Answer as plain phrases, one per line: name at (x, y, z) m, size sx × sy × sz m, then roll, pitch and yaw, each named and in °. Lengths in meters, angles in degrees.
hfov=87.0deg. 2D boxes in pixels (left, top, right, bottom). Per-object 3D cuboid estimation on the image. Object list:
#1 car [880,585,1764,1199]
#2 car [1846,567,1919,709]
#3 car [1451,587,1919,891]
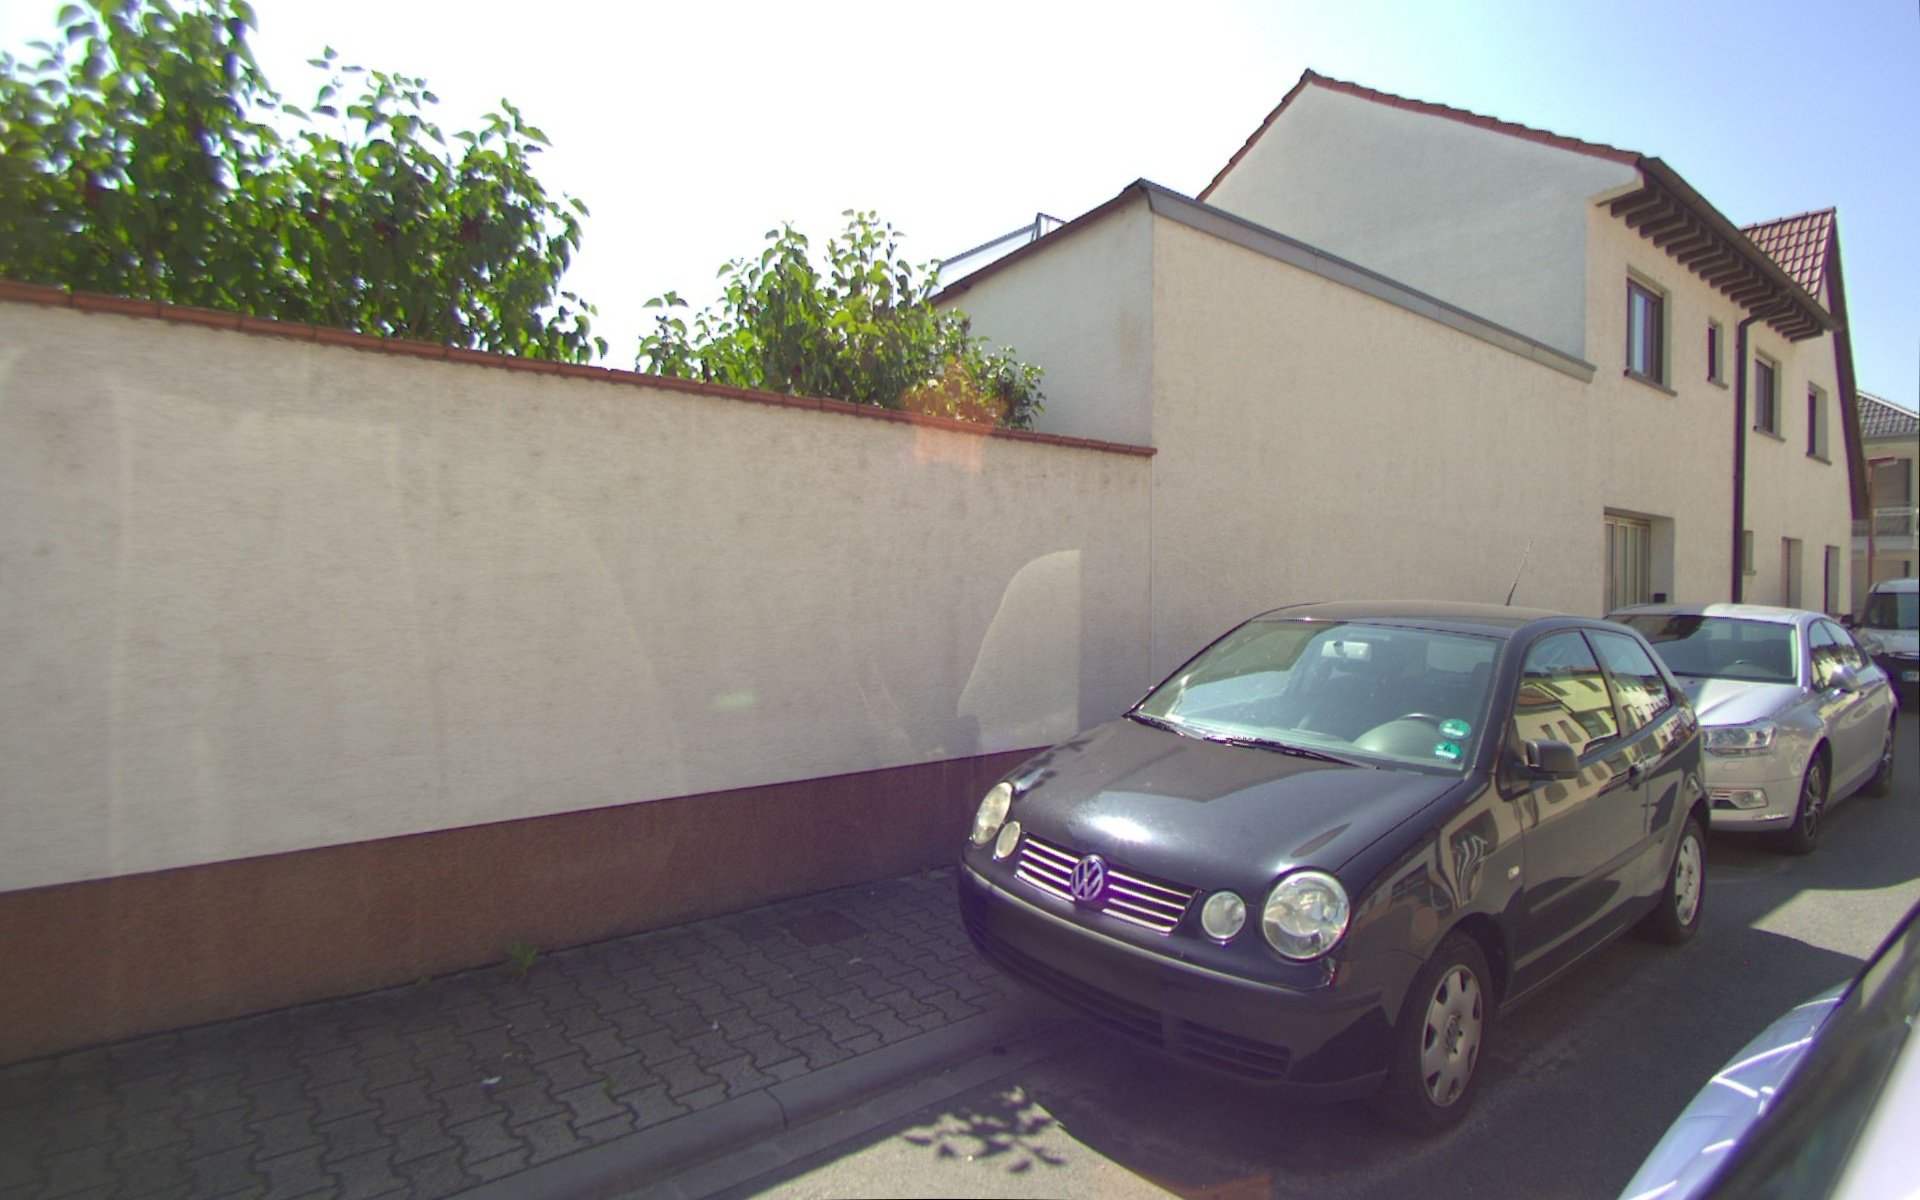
car at (1.796, 0.678, 4.175) m, size 4.062 × 1.454 × 1.652 m, roll -1°, pitch 2°, yaw -41°
car at (14.367, 0.462, 14.604) m, size 4.767 × 1.848 × 1.812 m, roll -1°, pitch 0°, yaw -42°
car at (5.683, 0.696, 7.503) m, size 4.846 × 1.499 × 1.795 m, roll -1°, pitch 3°, yaw -40°
